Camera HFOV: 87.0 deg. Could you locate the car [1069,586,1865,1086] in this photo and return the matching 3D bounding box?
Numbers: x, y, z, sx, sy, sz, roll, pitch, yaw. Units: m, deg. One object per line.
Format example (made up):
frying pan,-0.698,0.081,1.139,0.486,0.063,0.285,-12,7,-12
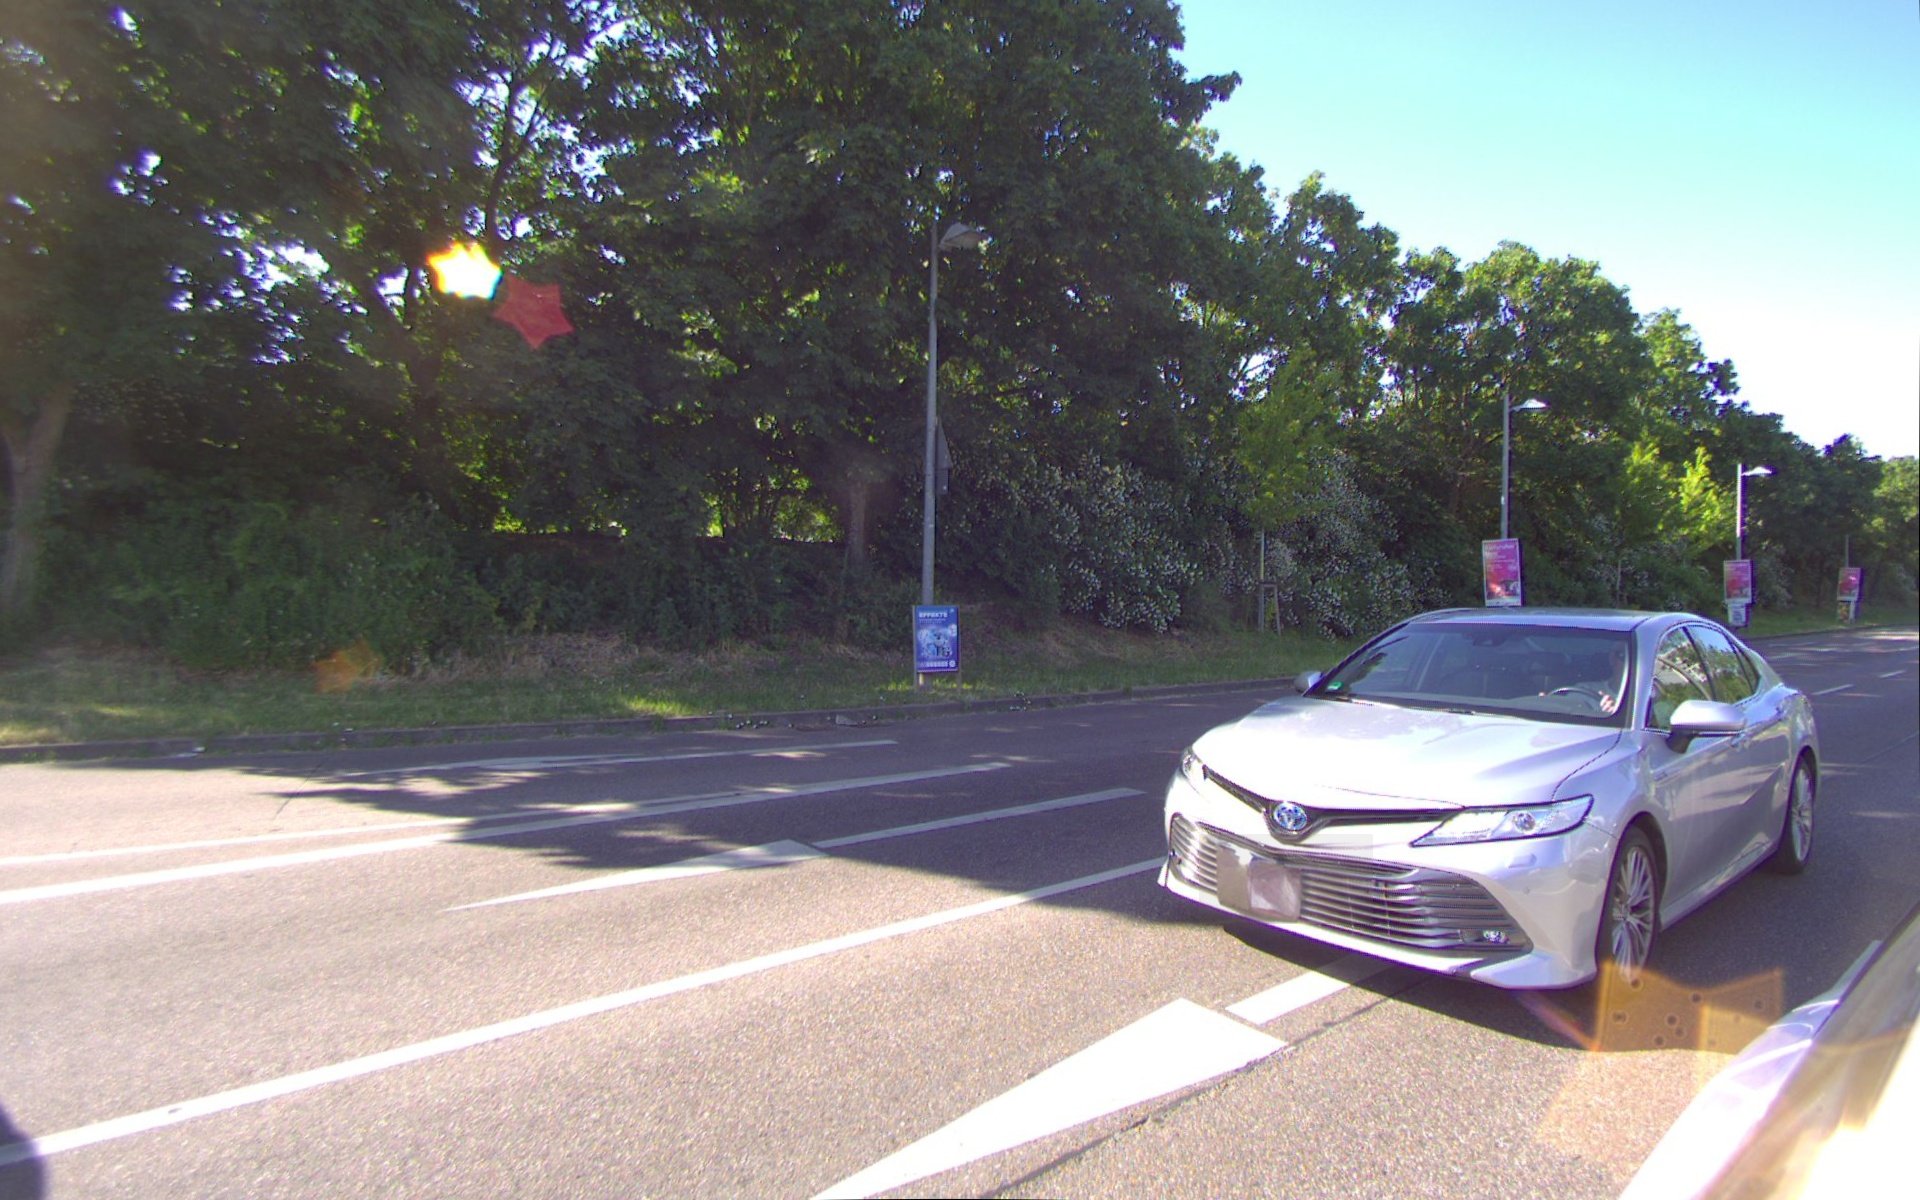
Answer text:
car,2.951,0.695,5.353,4.664,1.477,2.069,0,2,-40
